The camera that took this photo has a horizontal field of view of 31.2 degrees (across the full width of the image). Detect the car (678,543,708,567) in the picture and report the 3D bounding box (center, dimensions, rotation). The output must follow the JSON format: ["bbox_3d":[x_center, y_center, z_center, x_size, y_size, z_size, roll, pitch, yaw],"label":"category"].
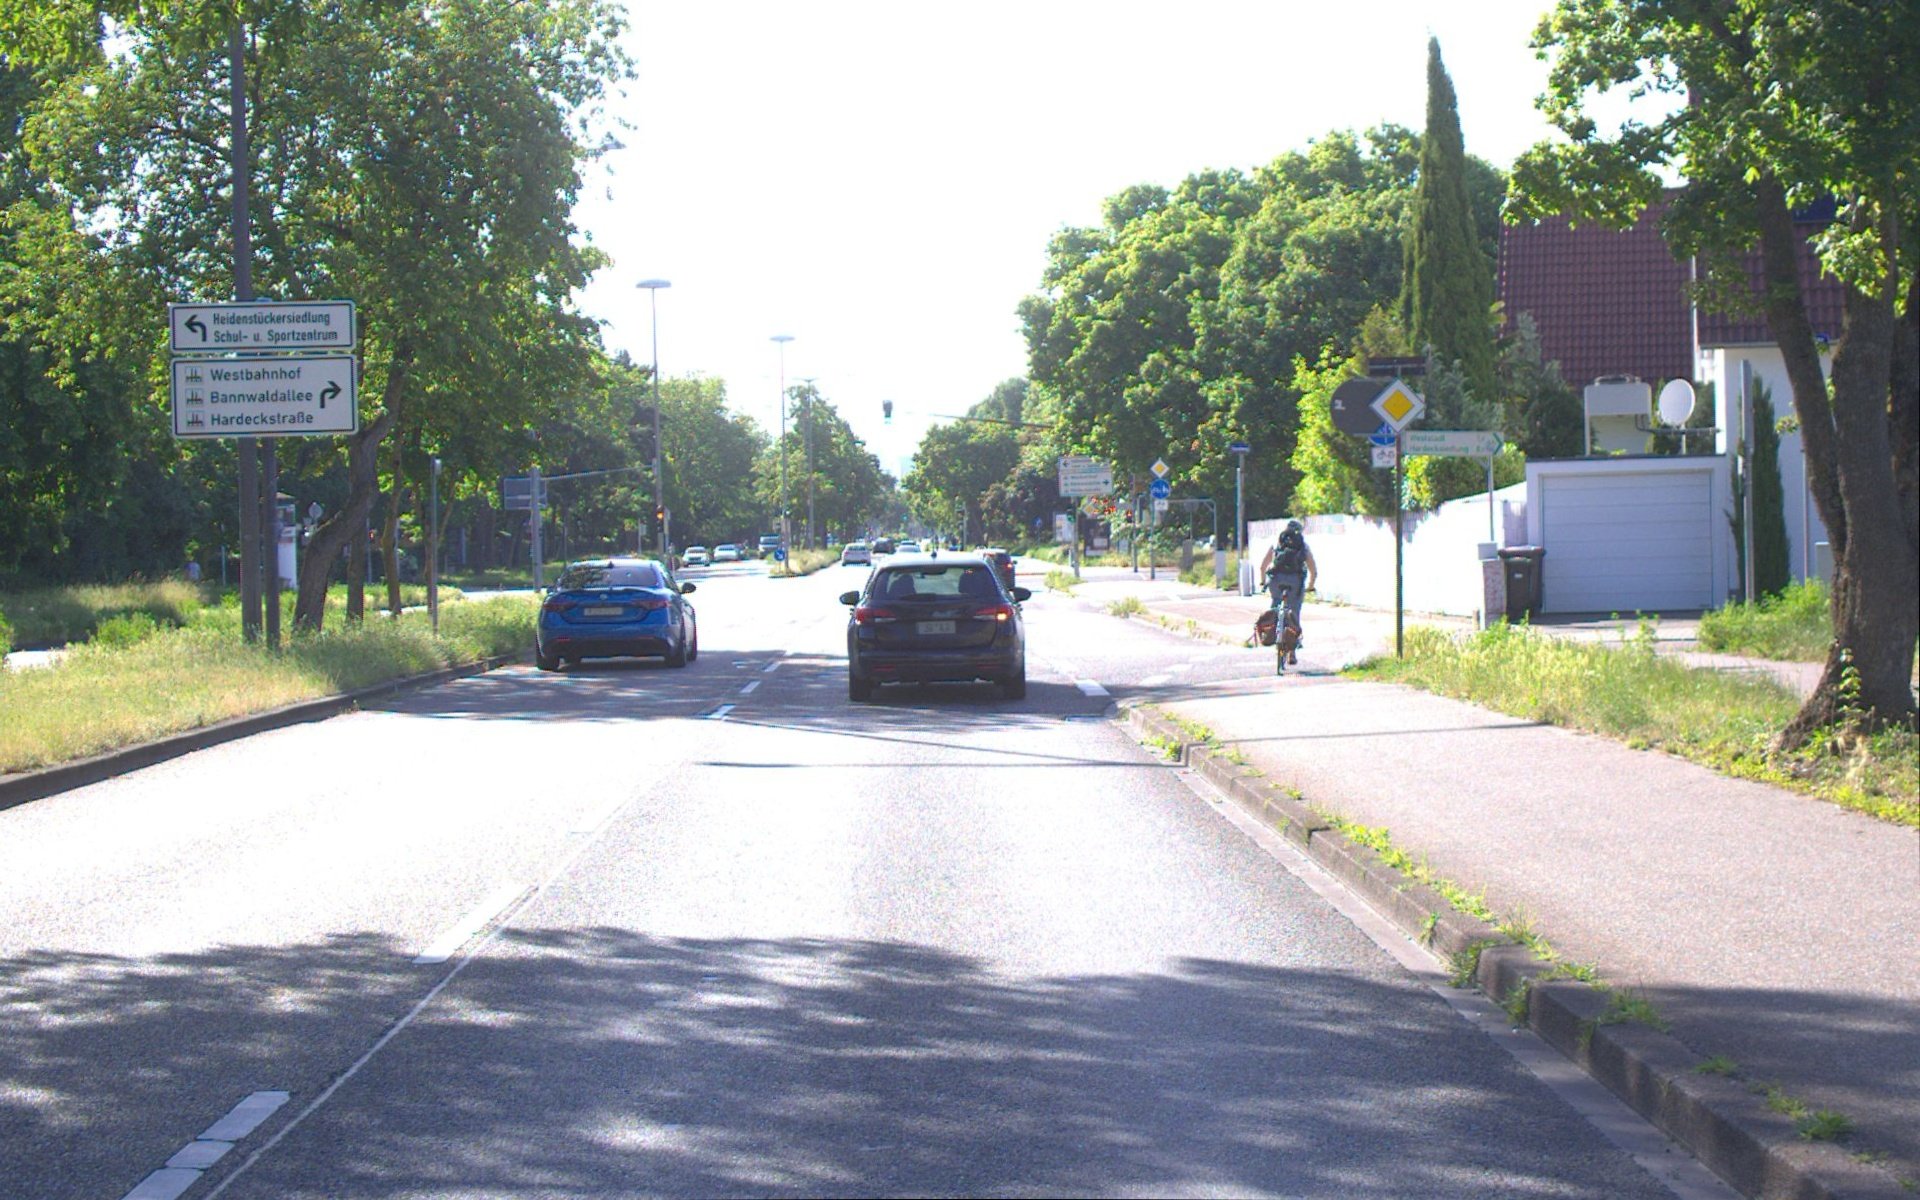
[{"bbox_3d":[-19.634,-3.323,252.839,1.864,1.678,4.260,-1,1,0],"label":"car"}]

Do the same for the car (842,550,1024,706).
[{"bbox_3d":[-0.286,0.260,35.113,1.755,1.504,3.809,0,0,-1],"label":"car"}]

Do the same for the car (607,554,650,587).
[{"bbox_3d":[-17.900,-1.575,185.884,1.912,1.697,4.408,1,0,0],"label":"car"}]

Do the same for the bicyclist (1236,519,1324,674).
[{"bbox_3d":[3.510,-0.043,37.633,0.630,1.627,0.981,-3,1,20],"label":"bicyclist"}]

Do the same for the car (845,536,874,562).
[{"bbox_3d":[-6.500,-3.320,222.437,1.824,1.609,3.841,2,2,-1],"label":"car"}]

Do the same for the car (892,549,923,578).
[{"bbox_3d":[-2.981,-2.061,194.818,1.732,1.579,3.840,1,0,-1],"label":"car"}]

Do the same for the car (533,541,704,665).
[{"bbox_3d":[-4.466,0.025,45.475,1.888,1.547,4.000,-1,0,-1],"label":"car"}]

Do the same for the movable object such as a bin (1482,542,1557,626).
[{"bbox_3d":[8.358,-0.232,51.390,1.002,1.201,1.062,-2,0,7],"label":"movable object such as a bin"}]

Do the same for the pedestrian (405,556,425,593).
[{"bbox_3d":[-27.391,-1.299,172.784,0.846,1.829,0.549,-1,1,2],"label":"pedestrian"}]

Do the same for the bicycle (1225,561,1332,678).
[{"bbox_3d":[3.502,0.198,37.665,0.574,1.151,2.139,-3,1,20],"label":"bicycle"}]

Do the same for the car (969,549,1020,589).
[{"bbox_3d":[1.285,-1.159,126.702,1.732,1.454,3.840,0,1,3],"label":"car"}]
